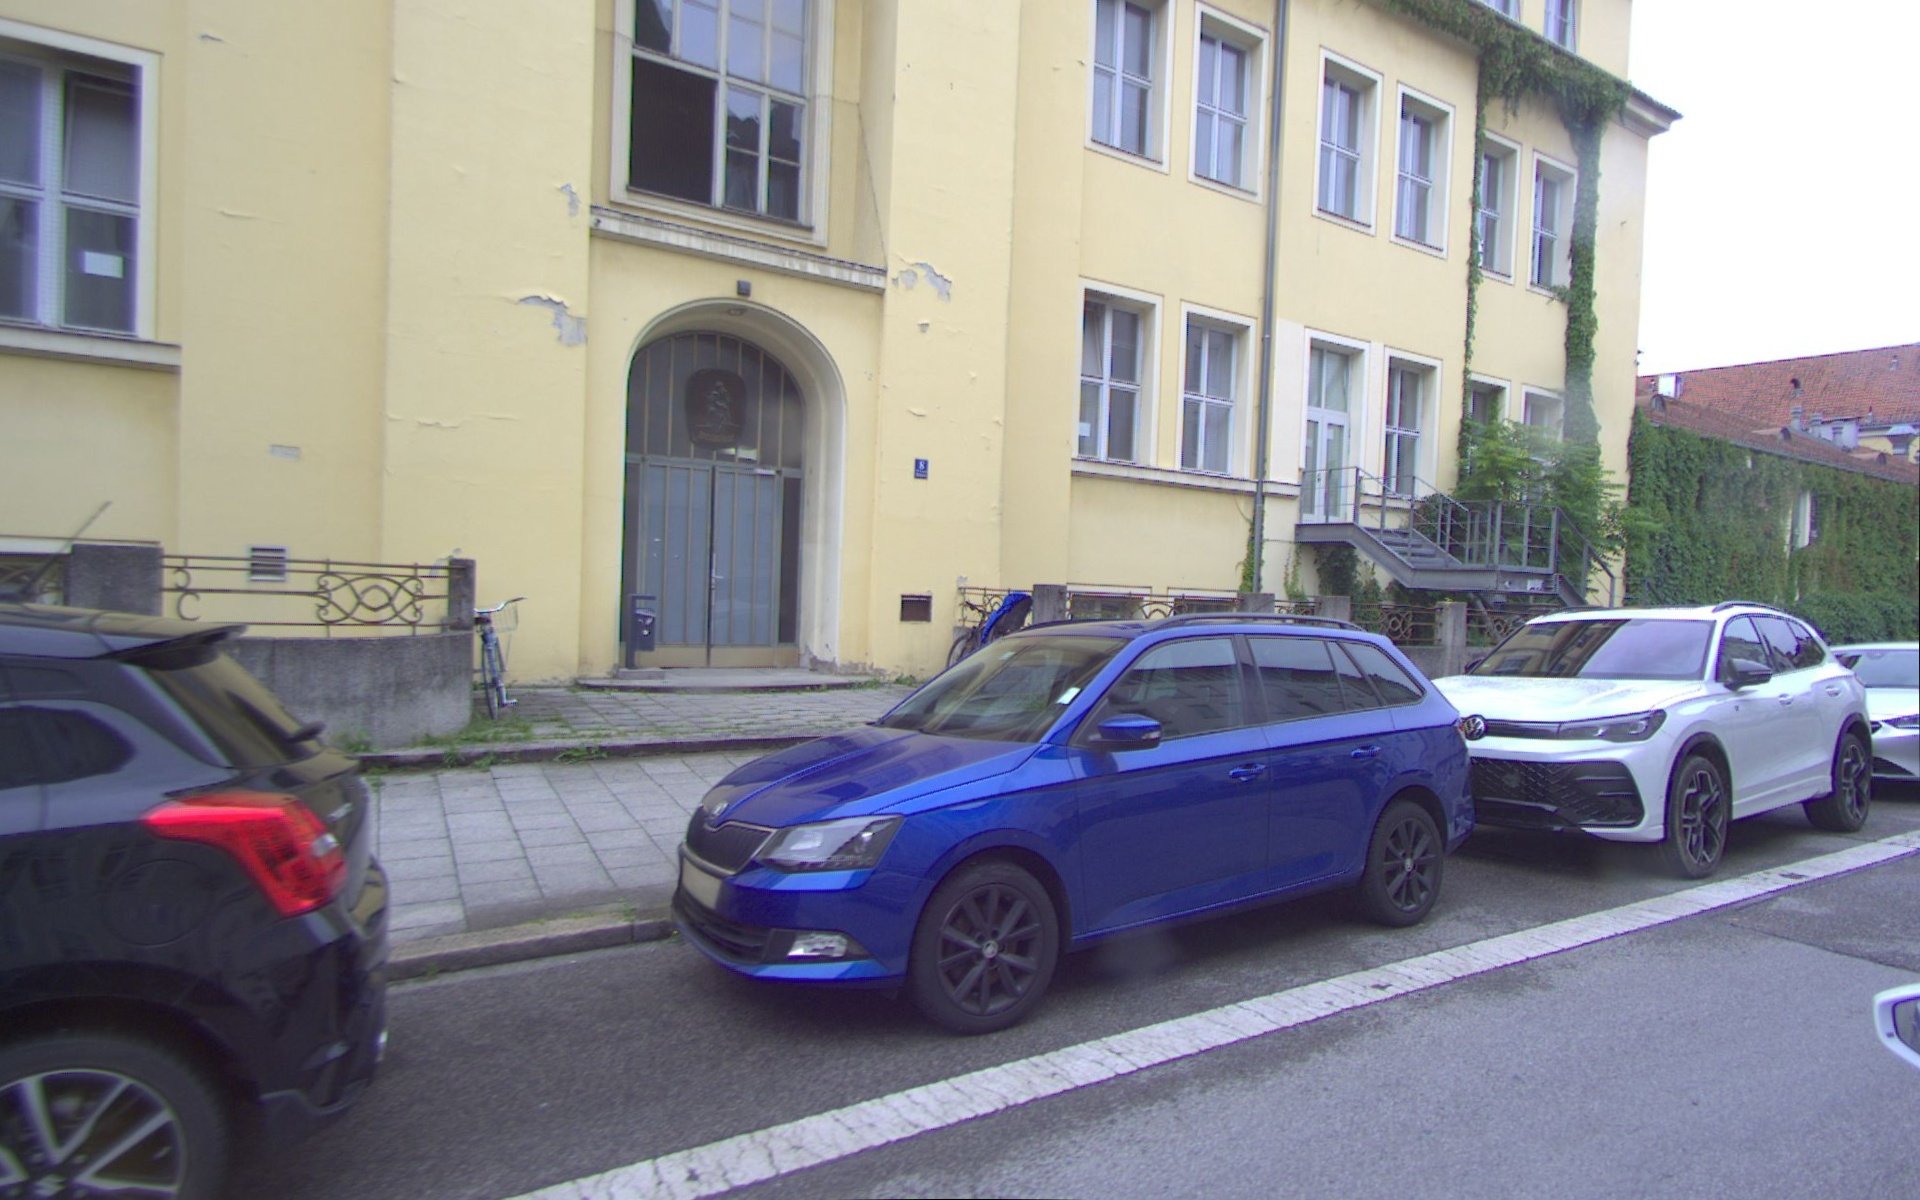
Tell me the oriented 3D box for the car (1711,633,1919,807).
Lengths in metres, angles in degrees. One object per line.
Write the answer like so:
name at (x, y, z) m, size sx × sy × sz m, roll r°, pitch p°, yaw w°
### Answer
car at (9.342, 1.071, 10.069) m, size 3.852 × 1.444 × 1.670 m, roll 1°, pitch -2°, yaw -33°

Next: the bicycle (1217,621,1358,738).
bicycle at (3.716, 0.882, 11.380) m, size 1.543 × 1.205 × 0.574 m, roll 2°, pitch 3°, yaw -30°

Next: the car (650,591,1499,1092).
car at (0.711, 0.797, 4.861) m, size 3.931 × 1.525 × 1.670 m, roll 1°, pitch -2°, yaw -33°

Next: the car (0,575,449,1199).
car at (-3.293, 0.707, 2.016) m, size 3.940 × 1.515 × 1.672 m, roll 1°, pitch -2°, yaw -31°

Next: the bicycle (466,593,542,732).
bicycle at (-4.126, 0.516, 9.037) m, size 0.434 × 1.065 × 1.548 m, roll 1°, pitch 2°, yaw -31°

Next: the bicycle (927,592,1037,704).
bicycle at (0.248, 0.554, 12.435) m, size 0.572 × 1.205 × 1.548 m, roll 1°, pitch 3°, yaw -31°

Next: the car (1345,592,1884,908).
car at (4.807, 0.851, 7.181) m, size 4.311 × 1.655 × 1.670 m, roll 1°, pitch -2°, yaw -34°
